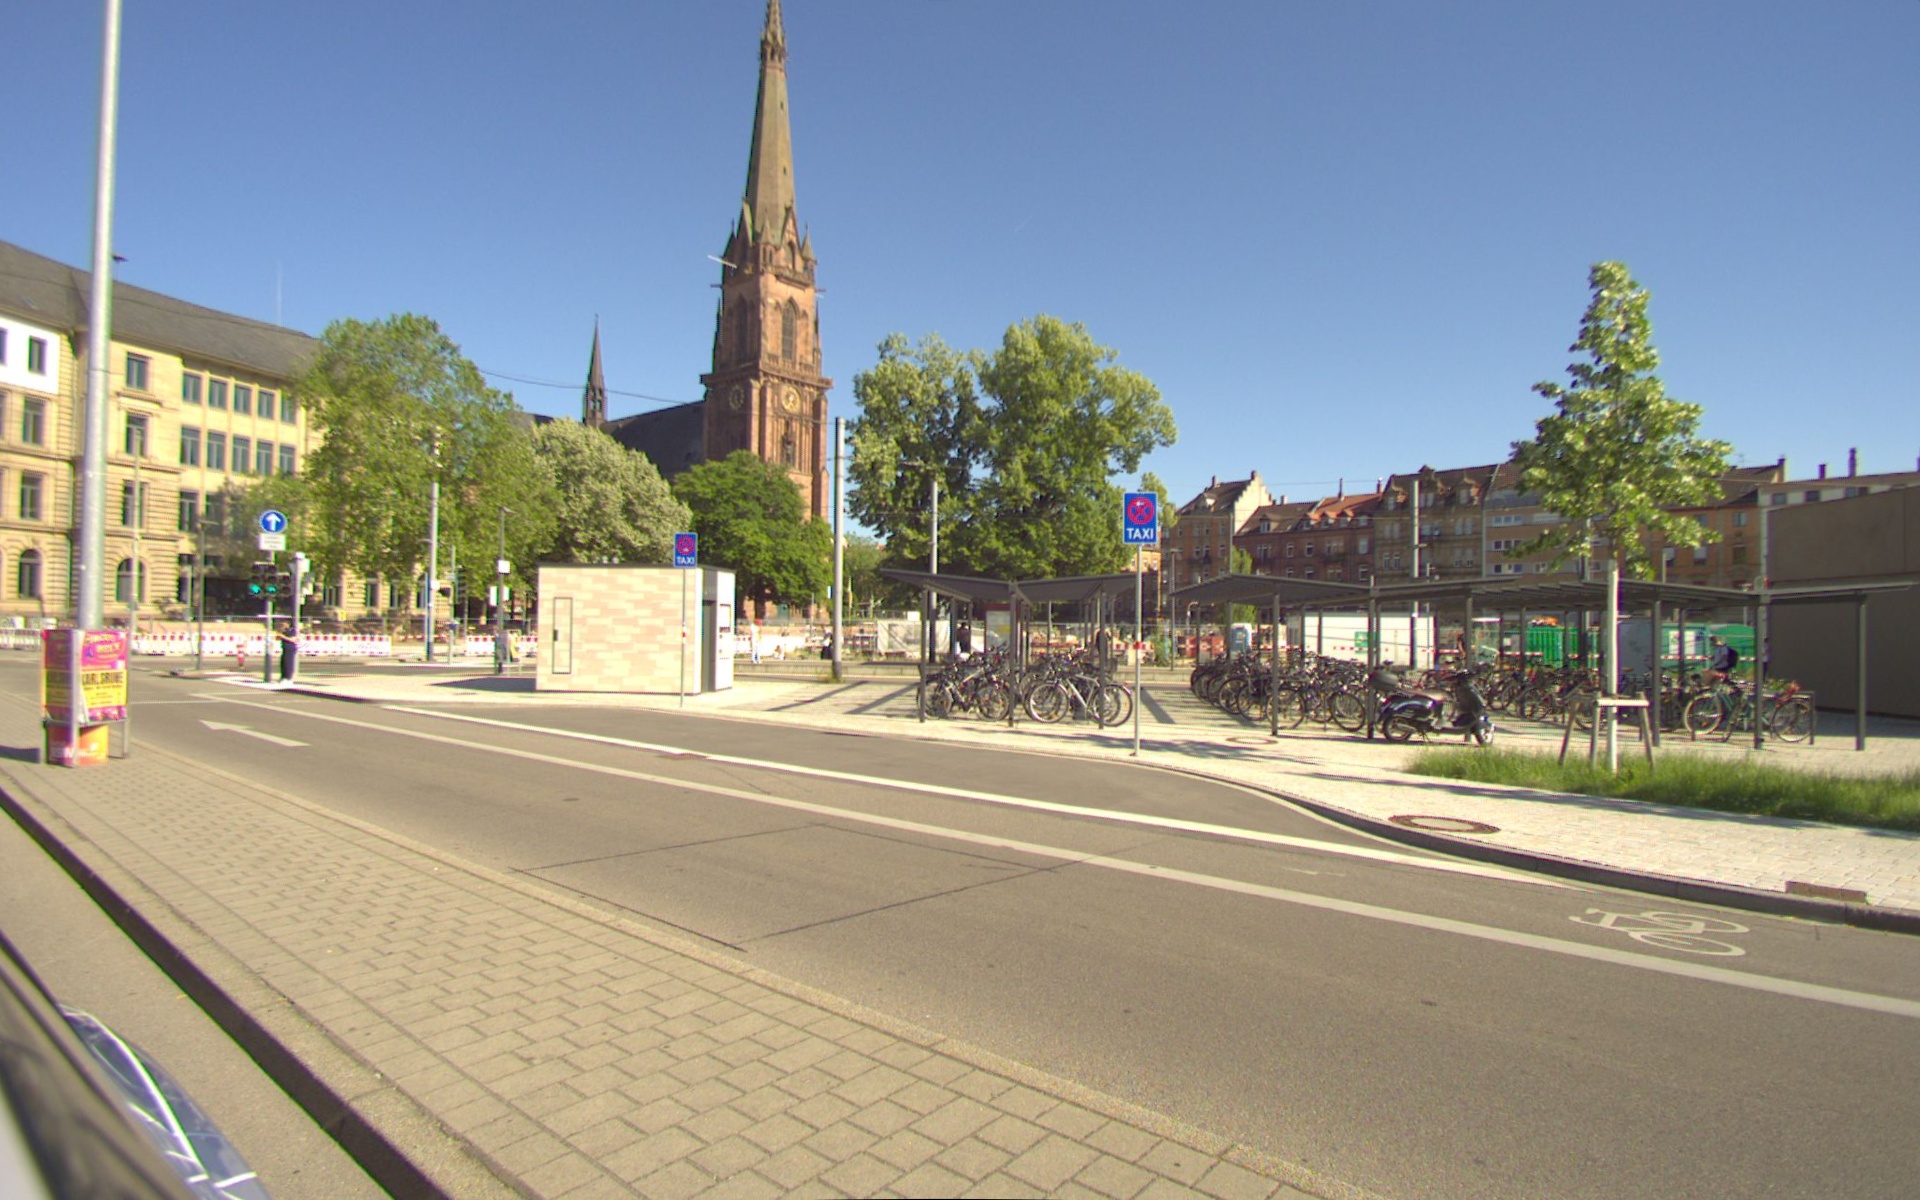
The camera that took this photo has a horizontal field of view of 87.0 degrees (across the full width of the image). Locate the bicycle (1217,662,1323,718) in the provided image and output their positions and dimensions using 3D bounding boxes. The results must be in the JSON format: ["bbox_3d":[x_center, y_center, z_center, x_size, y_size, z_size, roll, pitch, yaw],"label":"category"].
[{"bbox_3d":[5.904,1.709,19.322,1.882,1.016,0.456,0,-2,8],"label":"bicycle"}]

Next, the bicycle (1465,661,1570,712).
[{"bbox_3d":[11.721,1.815,21.312,1.882,1.016,0.456,0,-2,8],"label":"bicycle"}]

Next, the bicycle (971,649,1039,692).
[{"bbox_3d":[1.114,1.730,24.942,1.652,1.016,0.456,0,-2,8],"label":"bicycle"}]

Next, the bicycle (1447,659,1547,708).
[{"bbox_3d":[11.791,1.825,22.243,1.882,1.016,0.456,0,-2,8],"label":"bicycle"}]

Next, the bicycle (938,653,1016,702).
[{"bbox_3d":[0.378,1.691,22.224,1.652,1.016,0.456,0,-2,8],"label":"bicycle"}]

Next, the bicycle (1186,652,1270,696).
[{"bbox_3d":[6.401,1.763,24.225,1.882,1.016,0.456,0,-2,8],"label":"bicycle"}]

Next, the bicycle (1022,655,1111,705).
[{"bbox_3d":[2.304,1.723,21.920,1.882,1.016,0.456,0,-2,8],"label":"bicycle"}]

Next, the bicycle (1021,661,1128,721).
[{"bbox_3d":[2.061,1.633,18.261,1.882,1.016,0.456,0,-2,8],"label":"bicycle"}]

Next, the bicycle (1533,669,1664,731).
[{"bbox_3d":[11.107,1.733,17.641,1.882,1.016,0.456,0,-2,8],"label":"bicycle"}]

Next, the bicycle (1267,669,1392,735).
[{"bbox_3d":[6.128,1.683,16.839,1.882,1.016,0.456,0,-2,8],"label":"bicycle"}]

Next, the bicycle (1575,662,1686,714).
[{"bbox_3d":[13.880,1.819,20.970,1.882,1.016,0.456,0,-2,8],"label":"bicycle"}]

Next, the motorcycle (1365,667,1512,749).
[{"bbox_3d":[7.168,1.603,15.225,1.924,1.160,0.516,0,-2,6],"label":"motorcycle"}]

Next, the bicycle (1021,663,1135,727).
[{"bbox_3d":[1.996,1.603,17.114,1.882,1.016,0.456,0,-2,8],"label":"bicycle"}]

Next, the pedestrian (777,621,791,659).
[{"bbox_3d":[-10.161,2.314,58.432,0.545,2.171,0.568,0,-2,15],"label":"pedestrian"}]

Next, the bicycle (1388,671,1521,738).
[{"bbox_3d":[8.035,1.692,16.493,1.882,1.016,0.456,0,-2,8],"label":"bicycle"}]

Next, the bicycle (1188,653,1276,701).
[{"bbox_3d":[6.156,1.739,22.943,1.882,1.016,0.456,0,-2,8],"label":"bicycle"}]

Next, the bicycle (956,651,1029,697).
[{"bbox_3d":[0.753,1.710,23.482,1.652,1.016,0.456,0,-2,8],"label":"bicycle"}]

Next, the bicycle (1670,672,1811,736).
[{"bbox_3d":[13.135,1.744,17.065,1.882,1.016,0.456,0,-2,8],"label":"bicycle"}]

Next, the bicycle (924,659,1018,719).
[{"bbox_3d":[0.208,1.586,18.191,1.652,1.016,0.456,0,-2,8],"label":"bicycle"}]

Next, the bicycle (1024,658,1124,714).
[{"bbox_3d":[2.203,1.660,19.584,1.882,1.016,0.456,0,-2,8],"label":"bicycle"}]

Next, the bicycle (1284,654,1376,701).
[{"bbox_3d":[8.323,1.736,22.817,1.882,1.016,0.456,0,-2,8],"label":"bicycle"}]

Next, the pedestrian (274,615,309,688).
[{"bbox_3d":[-17.515,1.336,26.507,0.683,1.868,0.680,2,-2,-37],"label":"pedestrian"}]

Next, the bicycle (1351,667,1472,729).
[{"bbox_3d":[7.901,1.710,17.763,1.882,1.016,0.456,0,-2,8],"label":"bicycle"}]

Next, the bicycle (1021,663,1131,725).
[{"bbox_3d":[2.026,1.624,17.674,1.882,1.016,0.456,0,-2,8],"label":"bicycle"}]

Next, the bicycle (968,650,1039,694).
[{"bbox_3d":[1.049,1.715,24.226,1.652,1.016,0.456,0,-2,8],"label":"bicycle"}]

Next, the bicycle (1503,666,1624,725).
[{"bbox_3d":[11.171,1.757,18.757,1.882,1.016,0.456,0,-2,8],"label":"bicycle"}]

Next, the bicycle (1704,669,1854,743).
[{"bbox_3d":[13.088,1.686,16.205,1.882,1.106,0.456,0,-2,8],"label":"bicycle"}]

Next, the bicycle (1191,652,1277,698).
[{"bbox_3d":[6.373,1.732,23.567,1.882,1.016,0.456,0,-2,8],"label":"bicycle"}]

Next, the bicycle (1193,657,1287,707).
[{"bbox_3d":[5.972,1.748,21.609,1.882,1.016,0.456,0,-2,8],"label":"bicycle"}]

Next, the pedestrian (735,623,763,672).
[{"bbox_3d":[-7.868,1.751,37.804,0.792,1.793,0.977,0,-2,3],"label":"pedestrian"}]

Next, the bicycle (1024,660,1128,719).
[{"bbox_3d":[2.144,1.646,18.743,1.882,1.016,0.456,0,-2,8],"label":"bicycle"}]

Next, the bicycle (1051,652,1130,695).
[{"bbox_3d":[3.169,1.777,24.599,1.882,1.016,0.456,0,-2,8],"label":"bicycle"}]

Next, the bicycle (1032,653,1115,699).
[{"bbox_3d":[2.613,1.748,23.303,1.882,1.016,0.456,0,-2,8],"label":"bicycle"}]

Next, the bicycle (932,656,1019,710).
[{"bbox_3d":[0.312,1.626,19.888,1.652,1.016,0.456,0,-2,8],"label":"bicycle"}]

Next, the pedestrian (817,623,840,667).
[{"bbox_3d":[-5.514,1.880,42.502,0.792,1.793,0.977,0,-2,3],"label":"pedestrian"}]

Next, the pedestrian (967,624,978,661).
[{"bbox_3d":[0.593,1.995,47.616,0.399,1.734,0.419,1,-2,-11],"label":"pedestrian"}]

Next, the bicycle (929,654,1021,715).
[{"bbox_3d":[0.287,1.559,18.777,1.652,1.069,0.456,0,-2,8],"label":"bicycle"}]

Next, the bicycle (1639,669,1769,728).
[{"bbox_3d":[13.476,1.778,18.364,1.882,1.016,0.456,0,-2,8],"label":"bicycle"}]

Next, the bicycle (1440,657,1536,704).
[{"bbox_3d":[12.086,1.837,23.193,1.882,1.016,0.456,0,-2,8],"label":"bicycle"}]

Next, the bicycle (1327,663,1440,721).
[{"bbox_3d":[7.925,1.713,18.996,1.882,1.016,0.456,0,-2,8],"label":"bicycle"}]

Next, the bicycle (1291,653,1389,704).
[{"bbox_3d":[8.064,1.661,21.519,1.882,1.016,0.456,0,-2,8],"label":"bicycle"}]

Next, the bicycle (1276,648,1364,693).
[{"bbox_3d":[8.493,1.653,23.910,1.882,1.016,0.456,0,-2,8],"label":"bicycle"}]

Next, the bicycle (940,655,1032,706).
[{"bbox_3d":[0.550,1.675,21.226,1.882,1.016,0.456,0,-2,8],"label":"bicycle"}]

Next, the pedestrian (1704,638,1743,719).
[{"bbox_3d":[19.466,1.982,25.797,0.718,2.029,0.678,-1,-2,41],"label":"pedestrian"}]

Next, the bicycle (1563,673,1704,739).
[{"bbox_3d":[10.979,1.718,16.536,1.882,1.016,0.456,0,-2,8],"label":"bicycle"}]

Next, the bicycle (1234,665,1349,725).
[{"bbox_3d":[5.906,1.684,18.092,1.882,1.016,0.456,0,-2,8],"label":"bicycle"}]
